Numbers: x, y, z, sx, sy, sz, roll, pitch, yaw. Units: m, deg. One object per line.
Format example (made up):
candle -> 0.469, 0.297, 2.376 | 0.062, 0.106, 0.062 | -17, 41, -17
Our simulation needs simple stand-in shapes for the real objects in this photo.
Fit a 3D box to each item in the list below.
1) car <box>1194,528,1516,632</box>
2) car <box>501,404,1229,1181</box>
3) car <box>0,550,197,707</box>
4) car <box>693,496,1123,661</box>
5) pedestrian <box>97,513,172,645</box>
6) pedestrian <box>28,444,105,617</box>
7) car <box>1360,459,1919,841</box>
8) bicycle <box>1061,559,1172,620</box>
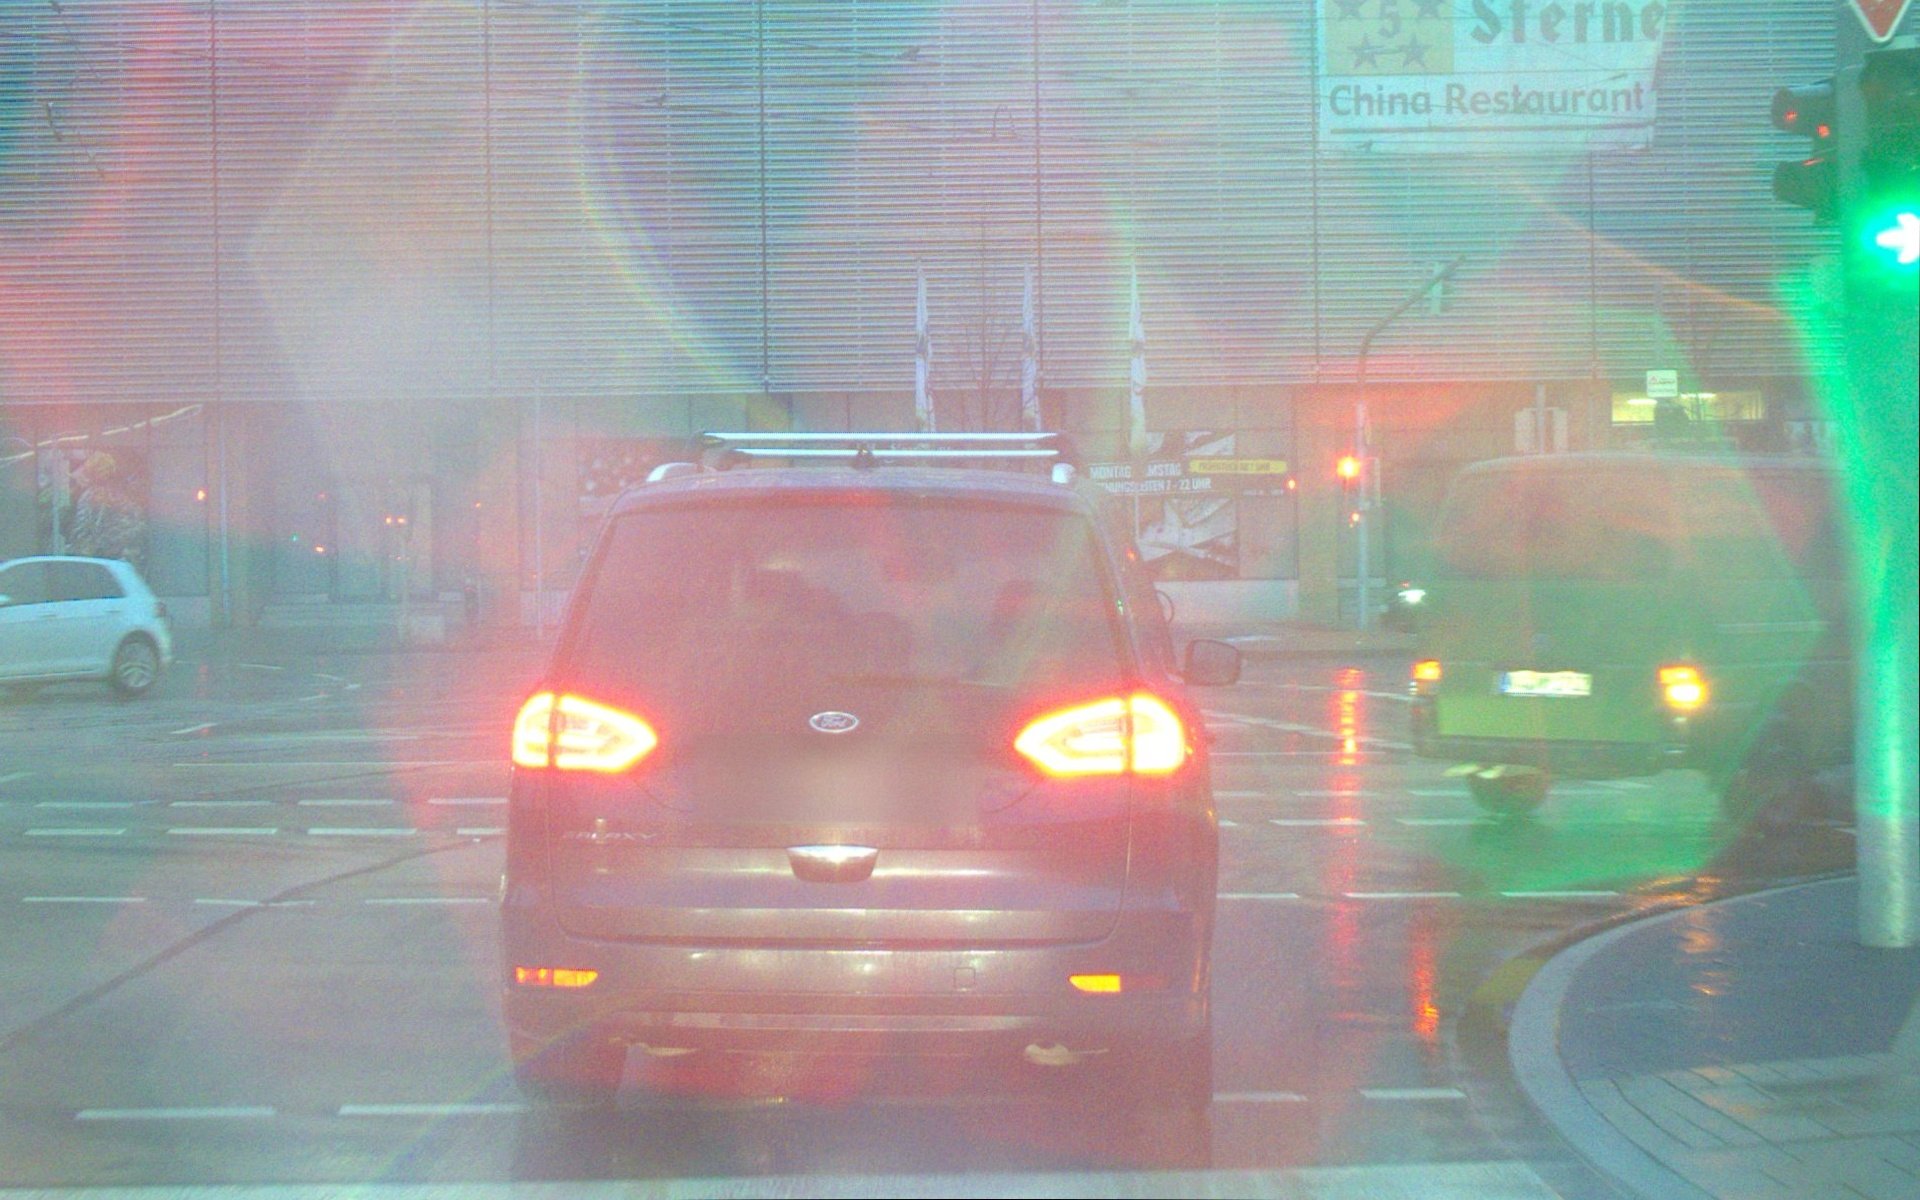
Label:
car -> 5.784, -0.308, 50.506 | 4.408, 1.440, 1.630 | -1, 1, -8
car -> -0.074, 0.418, 10.021 | 1.674, 1.773, 3.999 | 1, 1, 4
car -> -9.685, 0.276, 33.557 | 1.863, 1.481, 4.334 | 0, 1, 31
car -> -0.617, -0.319, 45.276 | 5.645, 2.052, 1.953 | -1, 1, -39
pedestrian -> -15.370, -0.387, 64.059 | 1.110, 2.431, 0.966 | 1, 0, 2
pedestrian -> -15.237, -1.177, 58.644 | 0.963, 2.915, 1.114 | 1, 0, 2
car -> 4.245, 0.189, 18.442 | 1.848, 1.800, 4.475 | 0, 1, 43
bicycle -> 2.965, -0.196, 65.241 | 2.084, 1.118, 0.477 | 1, 0, 1
